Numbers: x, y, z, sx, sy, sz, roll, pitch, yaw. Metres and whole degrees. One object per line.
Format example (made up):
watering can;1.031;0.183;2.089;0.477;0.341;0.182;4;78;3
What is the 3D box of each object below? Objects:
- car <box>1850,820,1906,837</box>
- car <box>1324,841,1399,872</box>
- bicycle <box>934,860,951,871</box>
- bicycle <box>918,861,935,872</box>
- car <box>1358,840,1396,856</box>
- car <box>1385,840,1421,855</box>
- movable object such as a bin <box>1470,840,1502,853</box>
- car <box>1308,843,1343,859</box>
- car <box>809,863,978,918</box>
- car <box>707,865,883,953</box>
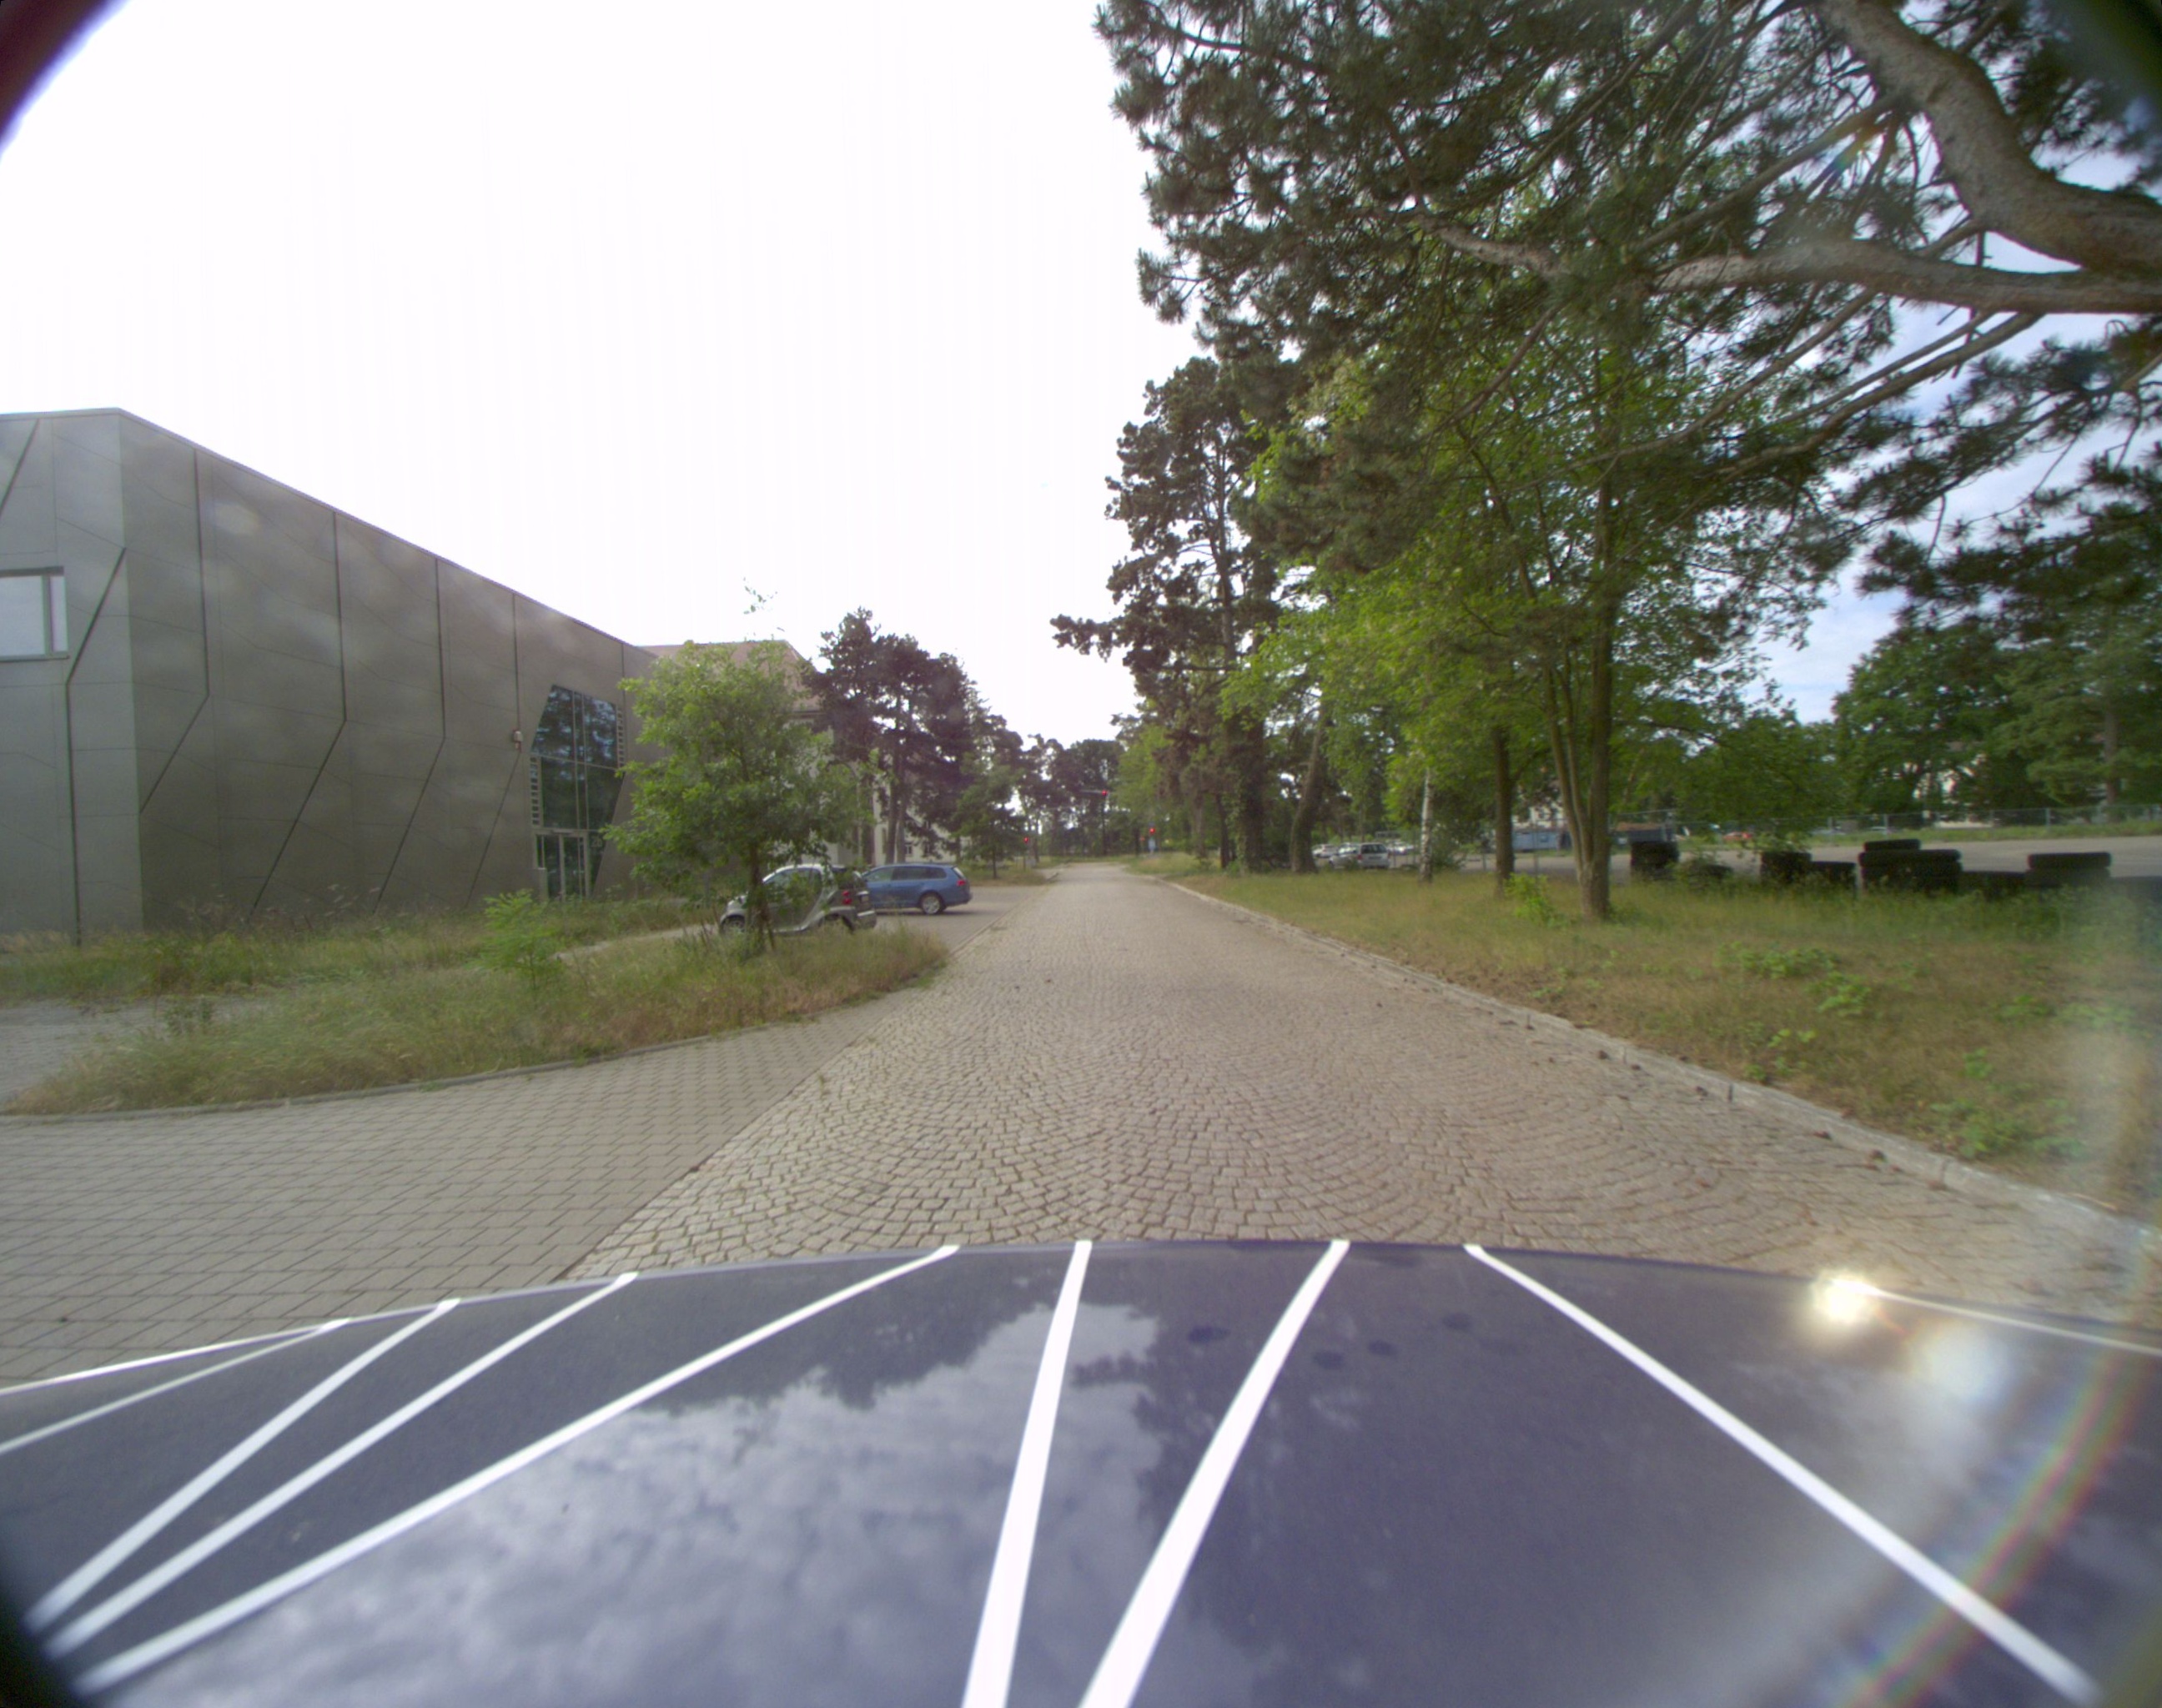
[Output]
car;88.770;-2.831;84.733;1.828;1.712;4.585;-2;0;8
car;13.353;0.103;36.418;1.829;1.408;4.420;0;0;-2
bicycle;-14.618;1.204;80.390;1.656;1.079;0.614;-2;1;-3
bicycle;-16.316;1.293;80.253;1.655;1.079;0.615;-2;1;2
car;28.864;-0.601;74.250;1.829;1.467;4.401;-2;0;-2
car;31.662;-0.619;74.728;1.637;1.391;4.036;-2;0;-2
movable object such as a bin;32.840;-0.621;61.614;1.447;0.963;1.957;-2;0;-7
car;23.713;-0.297;73.804;1.829;1.417;4.319;-2;0;-2
car;-5.351;1.022;22.139;4.503;1.467;1.830;0;0;-2
car;-5.439;1.014;14.698;2.716;1.547;1.654;-1;1;2
